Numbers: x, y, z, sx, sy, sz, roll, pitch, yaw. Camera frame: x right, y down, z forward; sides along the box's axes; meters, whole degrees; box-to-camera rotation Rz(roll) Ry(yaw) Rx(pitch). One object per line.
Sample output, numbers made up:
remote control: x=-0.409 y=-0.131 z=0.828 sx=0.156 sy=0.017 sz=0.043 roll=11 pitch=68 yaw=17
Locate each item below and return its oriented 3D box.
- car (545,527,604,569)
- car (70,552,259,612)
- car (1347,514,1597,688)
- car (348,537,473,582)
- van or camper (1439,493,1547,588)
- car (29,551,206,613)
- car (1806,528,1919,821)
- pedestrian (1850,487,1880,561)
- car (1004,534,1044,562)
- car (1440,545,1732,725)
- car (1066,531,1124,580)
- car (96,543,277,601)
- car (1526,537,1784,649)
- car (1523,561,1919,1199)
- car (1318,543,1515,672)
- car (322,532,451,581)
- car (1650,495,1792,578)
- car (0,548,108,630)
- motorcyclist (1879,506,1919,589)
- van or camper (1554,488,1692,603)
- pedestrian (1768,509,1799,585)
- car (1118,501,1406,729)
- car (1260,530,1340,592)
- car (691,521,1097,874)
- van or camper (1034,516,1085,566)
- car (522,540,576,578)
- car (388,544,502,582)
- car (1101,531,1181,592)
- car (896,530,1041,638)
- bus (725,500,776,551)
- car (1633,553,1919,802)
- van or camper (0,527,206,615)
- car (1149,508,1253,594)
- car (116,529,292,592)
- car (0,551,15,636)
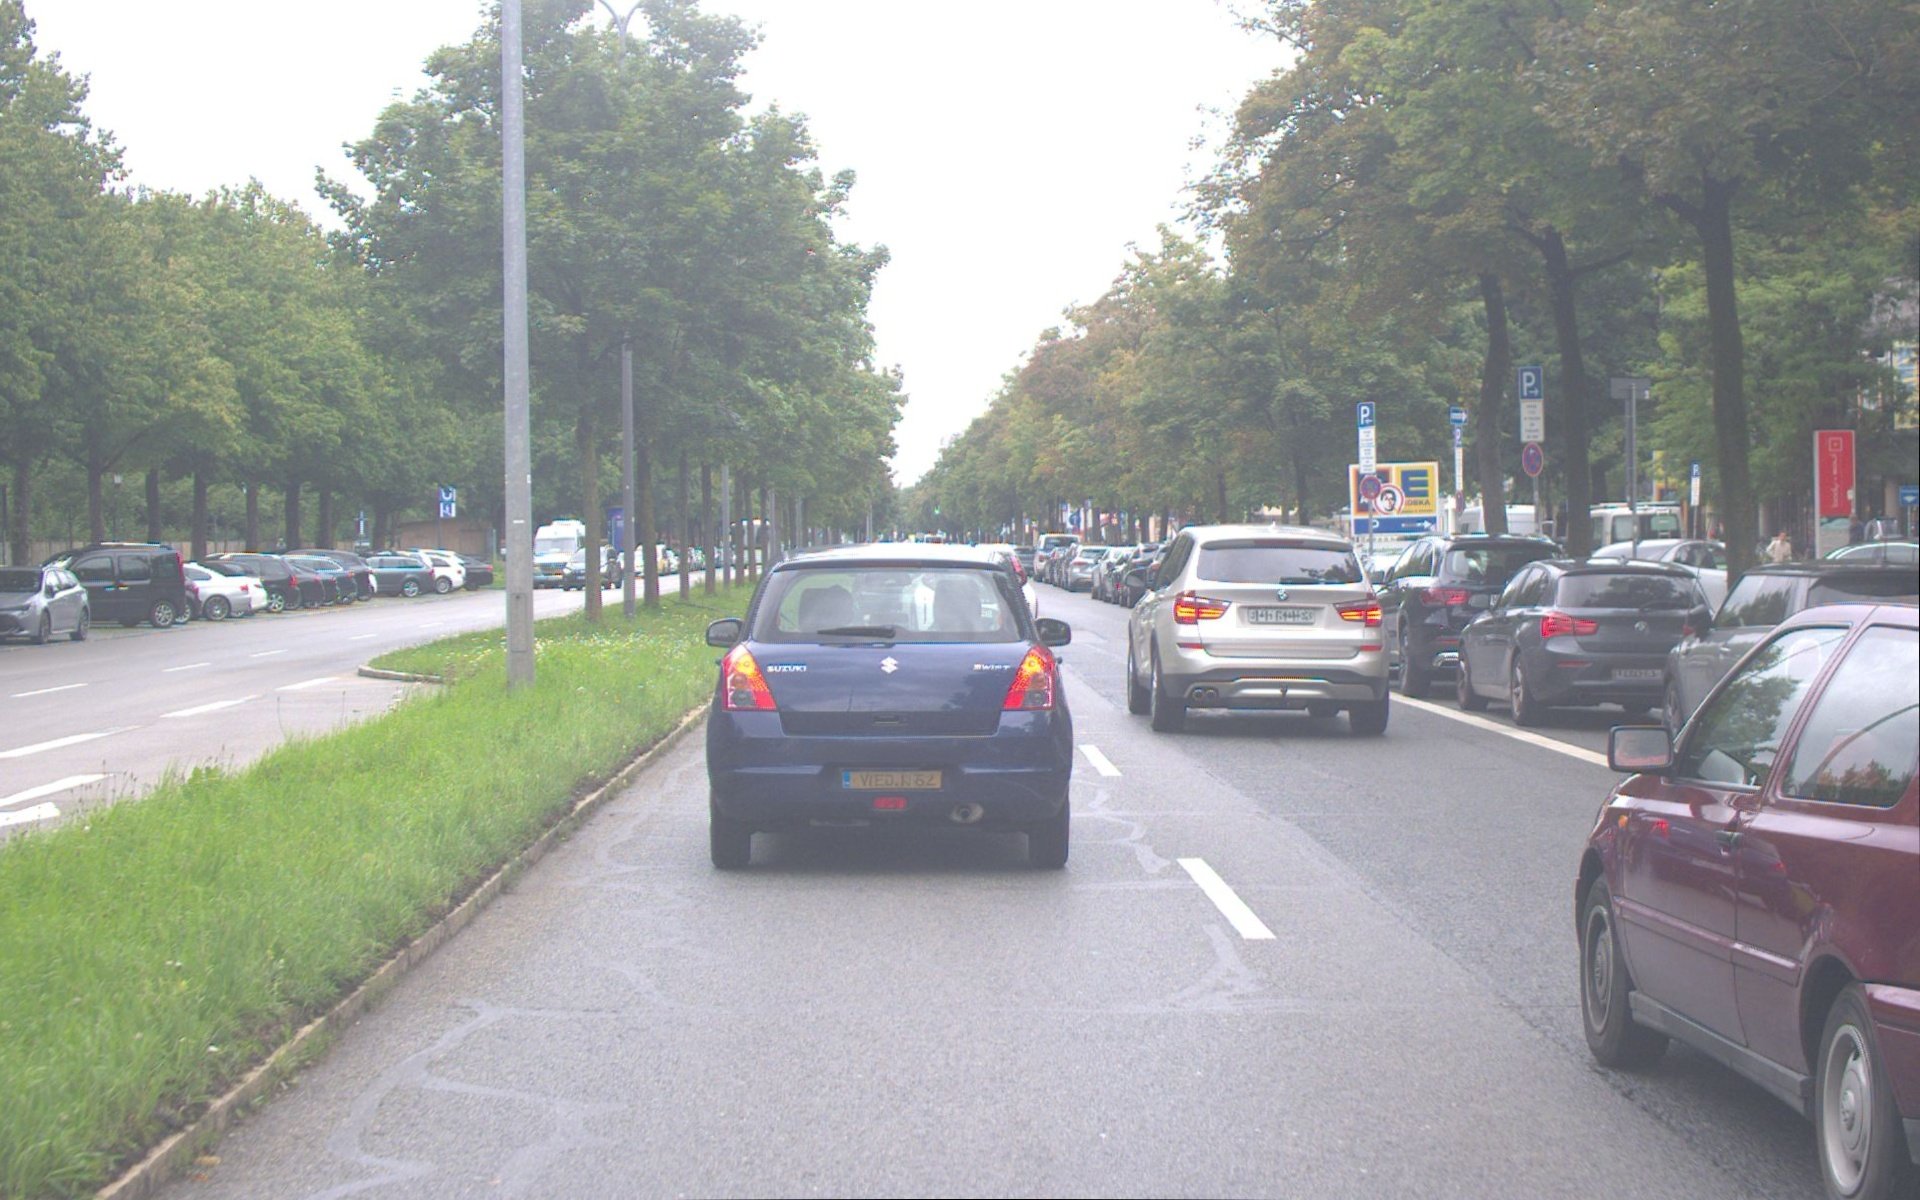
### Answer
car: x=-14.587 y=-1.981 z=130.354 sx=1.913 sy=1.537 sz=4.188 roll=-1 pitch=1 yaw=-2
car: x=-19.005 y=-0.441 z=82.150 sx=3.987 sy=1.349 sz=1.850 roll=-1 pitch=1 yaw=-35
car: x=5.199 y=-0.035 z=35.465 sx=1.786 sy=1.669 sz=4.596 roll=0 pitch=1 yaw=-1
car: x=-20.143 y=-1.508 z=126.044 sx=4.095 sy=1.579 sz=1.919 roll=-1 pitch=1 yaw=-34
van or camper: x=14.847 y=-1.677 z=95.989 sx=2.024 sy=2.549 sz=5.957 roll=-1 pitch=1 yaw=0
car: x=-19.265 y=-0.418 z=78.666 sx=3.569 sy=1.349 sz=1.754 roll=-1 pitch=1 yaw=-31
car: x=5.777 y=0.375 z=17.772 sx=1.717 sy=1.503 sz=4.224 roll=0 pitch=1 yaw=-1
pedestrian: x=21.471 y=-1.799 z=81.572 sx=0.575 sy=1.745 sz=0.732 roll=0 pitch=1 yaw=4
car: x=3.299 y=-2.713 z=177.833 sx=1.850 sy=1.442 sz=4.098 roll=0 pitch=1 yaw=-2
car: x=5.365 y=0.245 z=29.958 sx=1.633 sy=1.434 sz=4.305 roll=0 pitch=1 yaw=-2
car: x=4.382 y=-1.457 z=112.087 sx=1.684 sy=1.520 sz=4.456 roll=1 pitch=1 yaw=0
car: x=-19.198 y=-0.698 z=85.364 sx=4.031 sy=1.377 sz=1.674 roll=-1 pitch=1 yaw=-36
car: x=10.703 y=-0.142 z=52.682 sx=1.971 sy=1.619 sz=4.836 roll=1 pitch=1 yaw=37
car: x=2.592 y=0.646 z=8.621 sx=1.622 sy=1.449 sz=3.950 roll=0 pitch=1 yaw=-1
car: x=5.388 y=0.049 z=41.053 sx=1.653 sy=1.429 sz=4.483 roll=0 pitch=1 yaw=-1
car: x=-20.366 y=-1.553 z=122.169 sx=4.095 sy=1.689 sz=1.919 roll=-1 pitch=1 yaw=-34
car: x=15.644 y=-1.306 z=70.877 sx=1.993 sy=1.645 sz=4.000 roll=-1 pitch=1 yaw=0
car: x=-17.380 y=-0.235 z=64.321 sx=1.636 sy=1.434 sz=4.809 roll=1 pitch=1 yaw=0
motorcyclist: x=20.539 y=-1.141 z=74.801 sx=0.691 sy=1.731 sz=0.953 roll=-5 pitch=1 yaw=-1
van or camper: x=15.264 y=-1.275 z=79.459 sx=1.993 sy=2.549 sz=5.957 roll=-1 pitch=1 yaw=0
pedestrian: x=18.983 y=-1.225 z=79.226 sx=0.575 sy=1.745 sz=0.732 roll=0 pitch=1 yaw=4
car: x=2.404 y=0.074 z=28.352 sx=1.850 sy=1.737 sz=4.098 roll=0 pitch=1 yaw=-2
car: x=8.912 y=-1.048 z=90.303 sx=1.684 sy=1.580 sz=4.009 roll=0 pitch=1 yaw=0
car: x=-0.372 y=0.393 z=17.217 sx=1.789 sy=1.550 sz=4.001 roll=0 pitch=1 yaw=-2
van or camper: x=4.022 y=-2.394 z=139.519 sx=1.944 sy=1.968 sz=4.306 roll=0 pitch=1 yaw=0
car: x=-17.166 y=-1.731 z=143.734 sx=1.913 sy=1.537 sz=4.188 roll=-1 pitch=1 yaw=-2
car: x=-20.247 y=-1.437 z=135.142 sx=4.094 sy=1.469 sz=1.705 roll=0 pitch=1 yaw=-34
car: x=4.658 y=-1.014 z=88.884 sx=1.764 sy=1.541 sz=4.424 roll=0 pitch=1 yaw=-1
car: x=0.079 y=-0.259 z=48.334 sx=1.850 sy=1.442 sz=4.098 roll=0 pitch=1 yaw=-2
bus: x=-14.593 y=-5.195 z=240.520 sx=2.738 sy=3.366 sz=12.014 roll=-2 pitch=1 yaw=0
car: x=5.653 y=0.433 z=22.534 sx=1.634 sy=1.448 sz=4.078 roll=0 pitch=1 yaw=-1
van or camper: x=-18.906 y=-0.659 z=75.707 sx=4.114 sy=1.848 sz=1.849 roll=-1 pitch=1 yaw=-41
car: x=4.906 y=-1.013 z=70.523 sx=1.761 sy=1.695 sz=4.820 roll=0 pitch=1 yaw=0
car: x=-19.936 y=-1.055 z=90.732 sx=4.096 sy=1.591 sz=1.919 roll=-2 pitch=1 yaw=-39
car: x=-17.316 y=-0.093 z=57.947 sx=1.586 sy=1.454 sz=4.800 roll=1 pitch=1 yaw=-2
